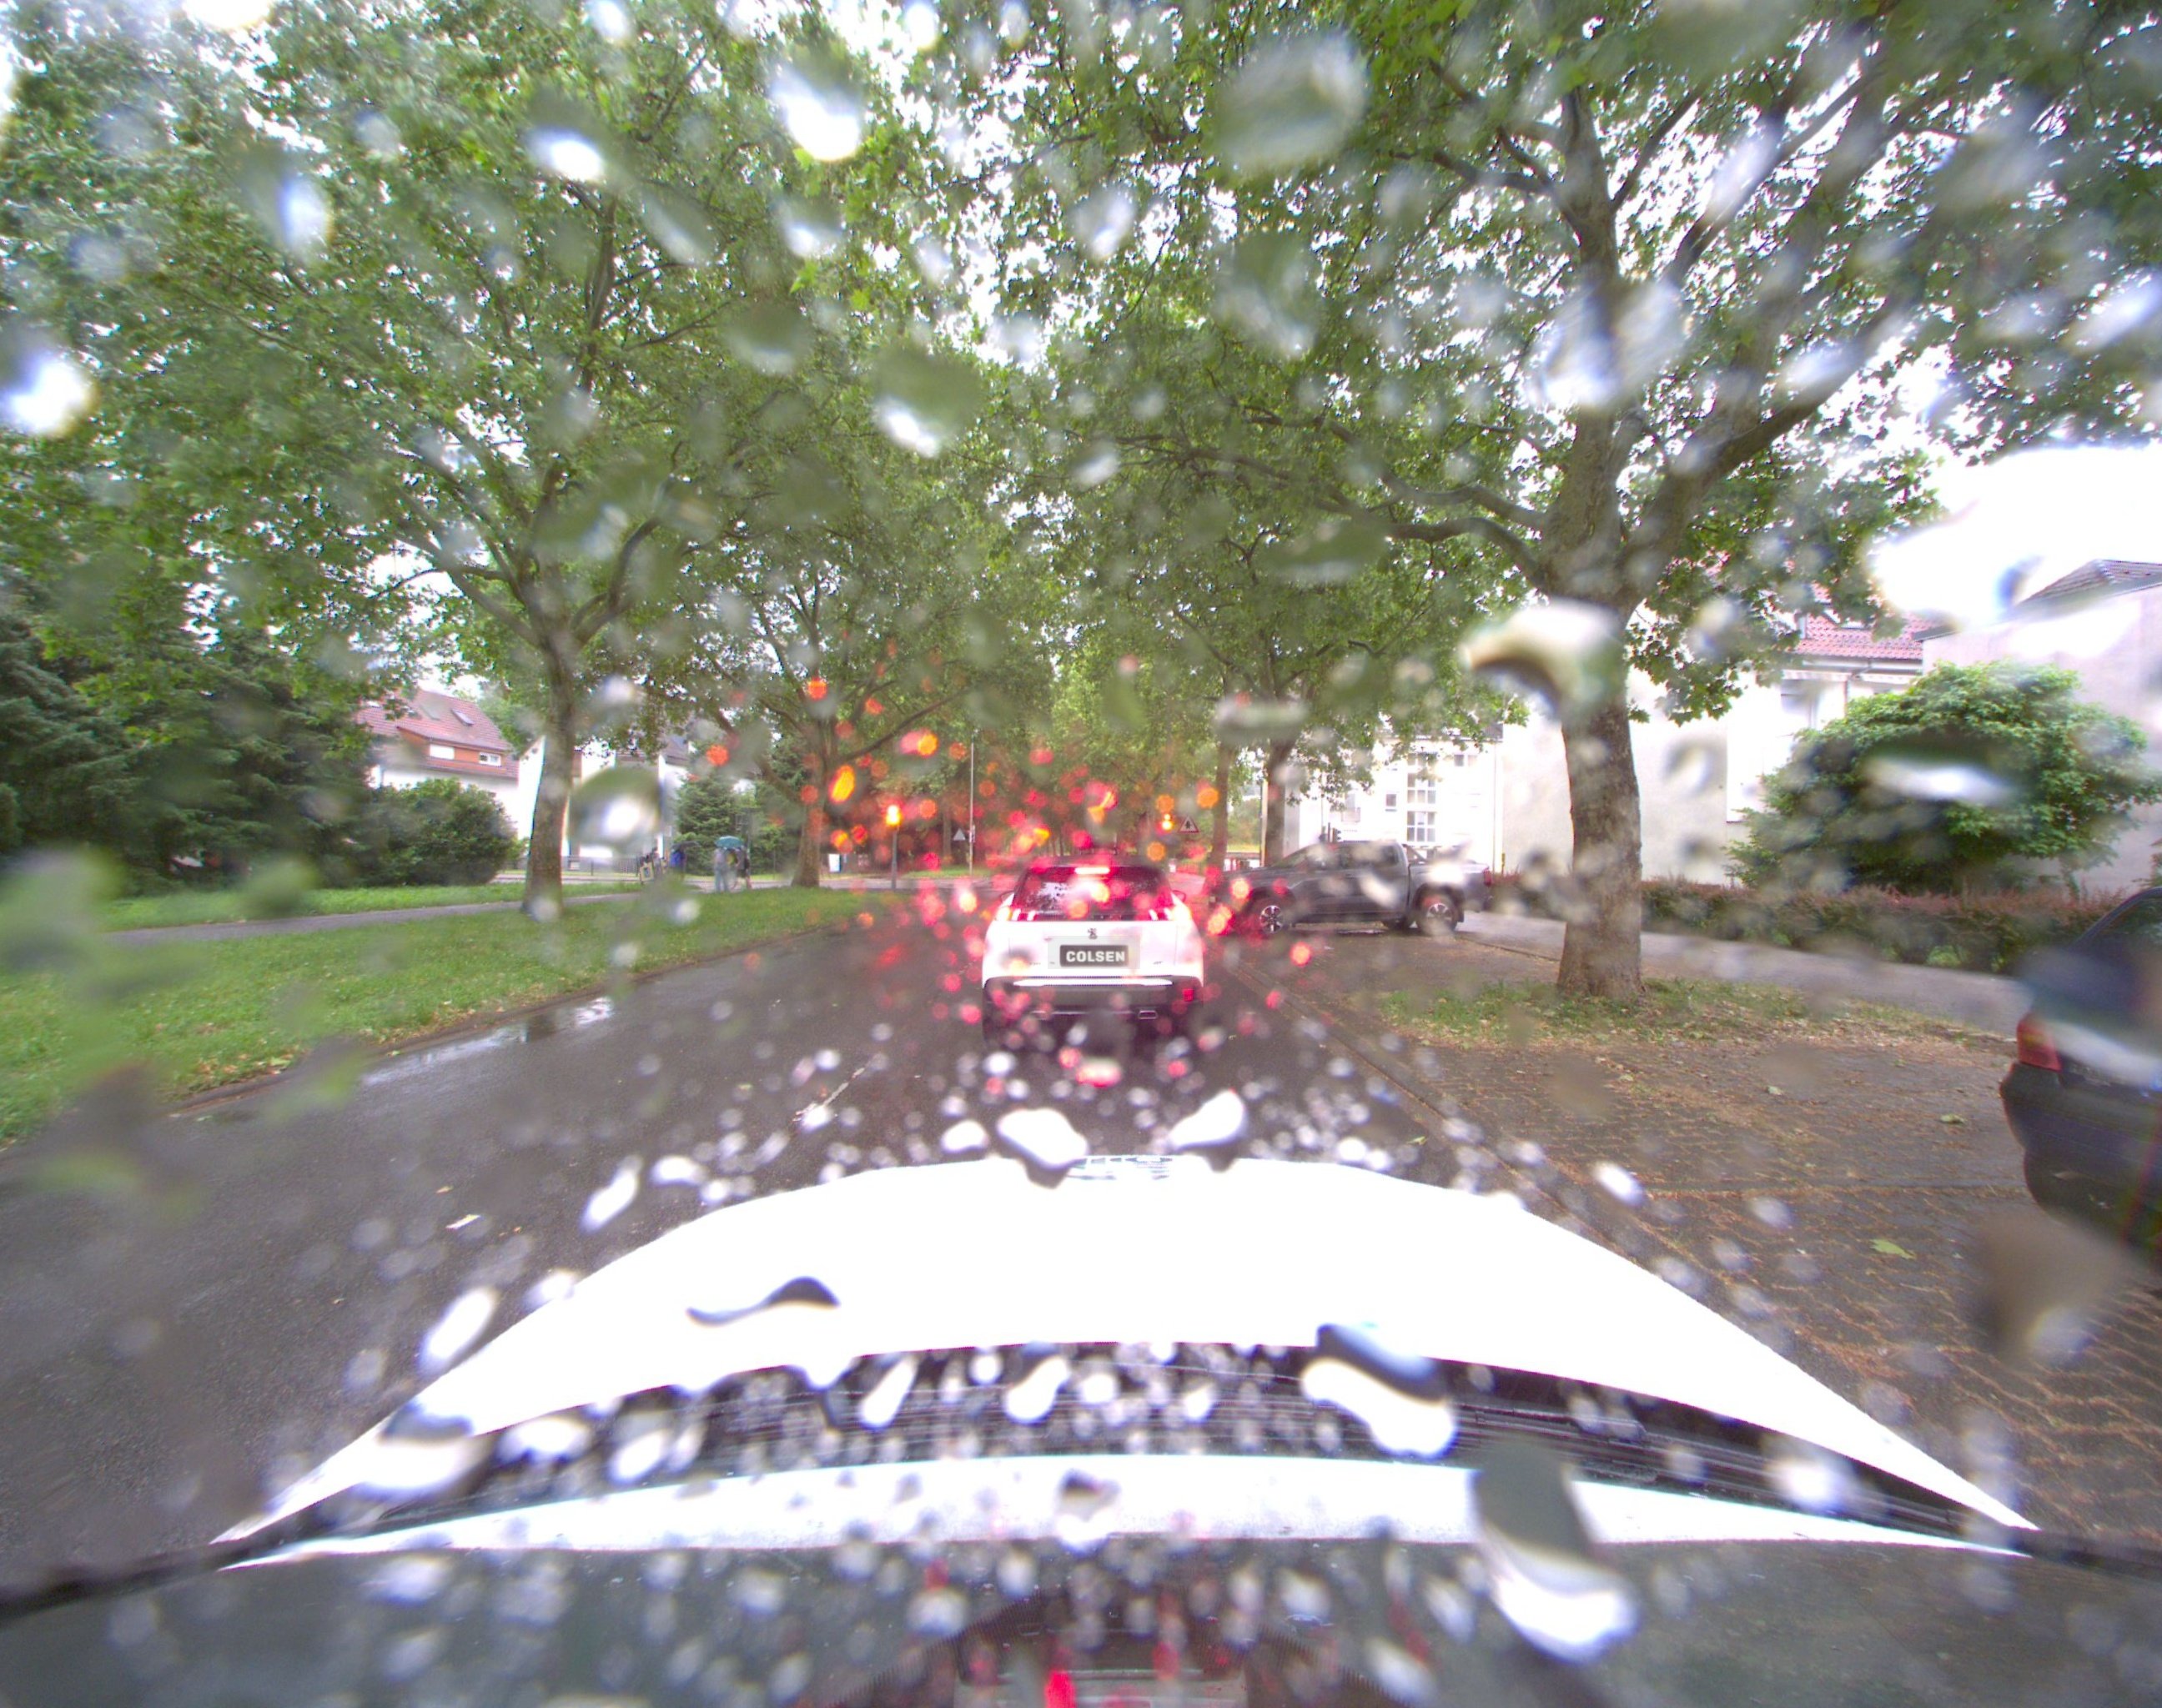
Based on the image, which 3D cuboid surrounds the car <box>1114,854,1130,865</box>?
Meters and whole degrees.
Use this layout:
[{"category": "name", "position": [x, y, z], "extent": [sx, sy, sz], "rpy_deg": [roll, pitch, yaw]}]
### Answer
[{"category": "car", "position": [5.598, 0.769, 111.811], "extent": [1.901, 1.510, 3.928], "rpy_deg": [0, 0, -2]}]

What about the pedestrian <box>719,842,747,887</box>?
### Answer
[{"category": "pedestrian", "position": [-13.702, 0.425, 32.055], "extent": [0.818, 1.744, 0.639], "rpy_deg": [1, 0, -2]}]

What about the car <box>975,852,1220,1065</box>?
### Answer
[{"category": "car", "position": [0.170, 0.756, 7.936], "extent": [1.774, 1.536, 4.059], "rpy_deg": [0, 0, 1]}]

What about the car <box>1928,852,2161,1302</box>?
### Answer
[{"category": "car", "position": [5.194, 0.732, 2.599], "extent": [3.344, 1.464, 1.618], "rpy_deg": [0, 0, 0]}]

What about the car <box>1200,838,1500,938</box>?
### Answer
[{"category": "car", "position": [5.150, 0.633, 15.957], "extent": [5.330, 1.807, 1.842], "rpy_deg": [0, 0, -6]}]

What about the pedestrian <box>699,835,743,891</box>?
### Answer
[{"category": "pedestrian", "position": [-11.602, 0.278, 26.258], "extent": [1.029, 1.765, 0.838], "rpy_deg": [0, 0, 1]}]

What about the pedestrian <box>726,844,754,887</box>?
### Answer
[{"category": "pedestrian", "position": [-13.923, 0.472, 33.241], "extent": [0.856, 1.744, 0.639], "rpy_deg": [1, 0, -2]}]

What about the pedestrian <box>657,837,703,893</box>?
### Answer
[{"category": "pedestrian", "position": [-12.976, 0.349, 26.355], "extent": [1.029, 1.765, 0.879], "rpy_deg": [0, 0, 1]}]
